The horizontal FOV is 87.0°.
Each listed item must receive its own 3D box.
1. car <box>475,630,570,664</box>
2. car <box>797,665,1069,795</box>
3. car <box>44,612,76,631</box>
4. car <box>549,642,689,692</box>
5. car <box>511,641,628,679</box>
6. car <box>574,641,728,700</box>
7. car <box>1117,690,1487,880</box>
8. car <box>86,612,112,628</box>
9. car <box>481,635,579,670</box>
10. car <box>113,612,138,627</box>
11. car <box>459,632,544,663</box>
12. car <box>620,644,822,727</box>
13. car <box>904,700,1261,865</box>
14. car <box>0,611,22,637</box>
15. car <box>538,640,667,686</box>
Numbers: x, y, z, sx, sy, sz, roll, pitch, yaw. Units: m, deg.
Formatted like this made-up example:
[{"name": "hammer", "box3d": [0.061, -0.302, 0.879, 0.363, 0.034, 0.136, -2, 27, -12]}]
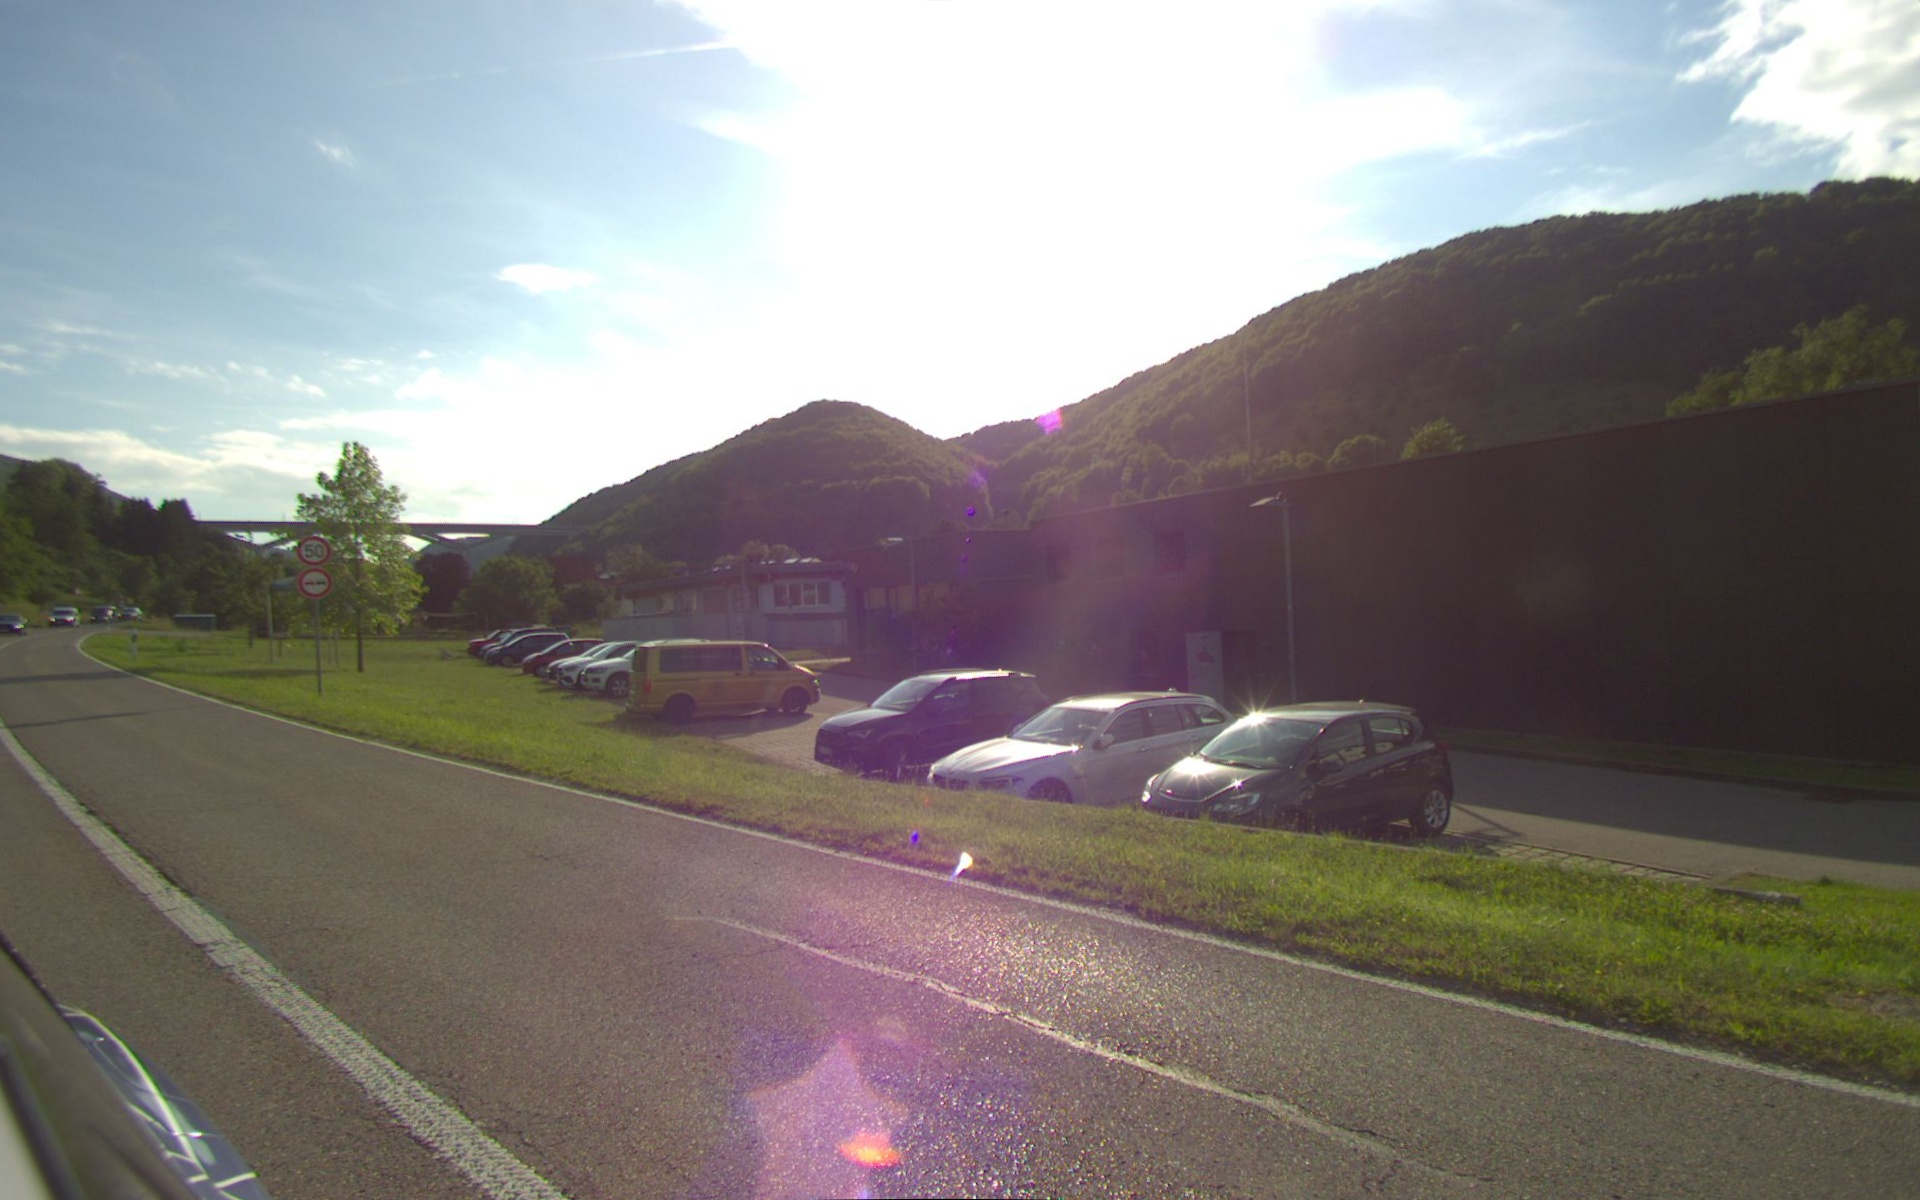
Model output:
[{"name": "car", "box3d": [-24.177, 2.539, 55.915, 4.595, 1.776, 2.006, 0, -2, -31]}, {"name": "car", "box3d": [-0.407, 2.082, 17.207, 4.226, 1.650, 1.917, -2, -1, -35]}, {"name": "car", "box3d": [-82.558, 1.987, 92.841, 1.770, 1.749, 4.293, -1, -1, -36]}, {"name": "car", "box3d": [-12.081, 2.335, 35.898, 4.370, 1.599, 2.006, 0, -2, -30]}, {"name": "car", "box3d": [-16.584, 2.502, 43.016, 4.370, 1.463, 2.006, 0, -2, -30]}, {"name": "car", "box3d": [-10.059, 2.240, 33.027, 4.477, 1.714, 2.006, 0, -2, -30]}, {"name": "car", "box3d": [3.898, 1.920, 11.420, 3.932, 1.546, 1.839, 0, -2, -31]}, {"name": "car", "box3d": [-95.113, 2.231, 111.837, 1.651, 1.659, 3.355, -1, -1, -32]}, {"name": "car", "box3d": [-21.933, 2.661, 51.642, 4.371, 1.595, 2.006, -1, -1, -31]}, {"name": "car", "box3d": [-103.393, 2.453, 125.469, 1.966, 1.730, 4.011, 0, -1, -33]}, {"name": "car", "box3d": [-27.283, 2.775, 60.251, 4.371, 1.733, 2.006, 0, -2, -31]}, {"name": "car", "box3d": [-6.014, 2.079, 25.593, 4.583, 1.827, 2.006, 0, -2, -30]}, {"name": "car", "box3d": [1.712, 2.253, 13.451, 4.577, 1.508, 1.918, 1, -2, -34]}, {"name": "car", "box3d": [-65.141, 1.646, 68.606, 1.883, 1.698, 4.008, 0, -2, -37]}, {"name": "car", "box3d": [-13.706, 2.384, 38.867, 4.371, 1.595, 2.006, 0, -2, -32]}]
